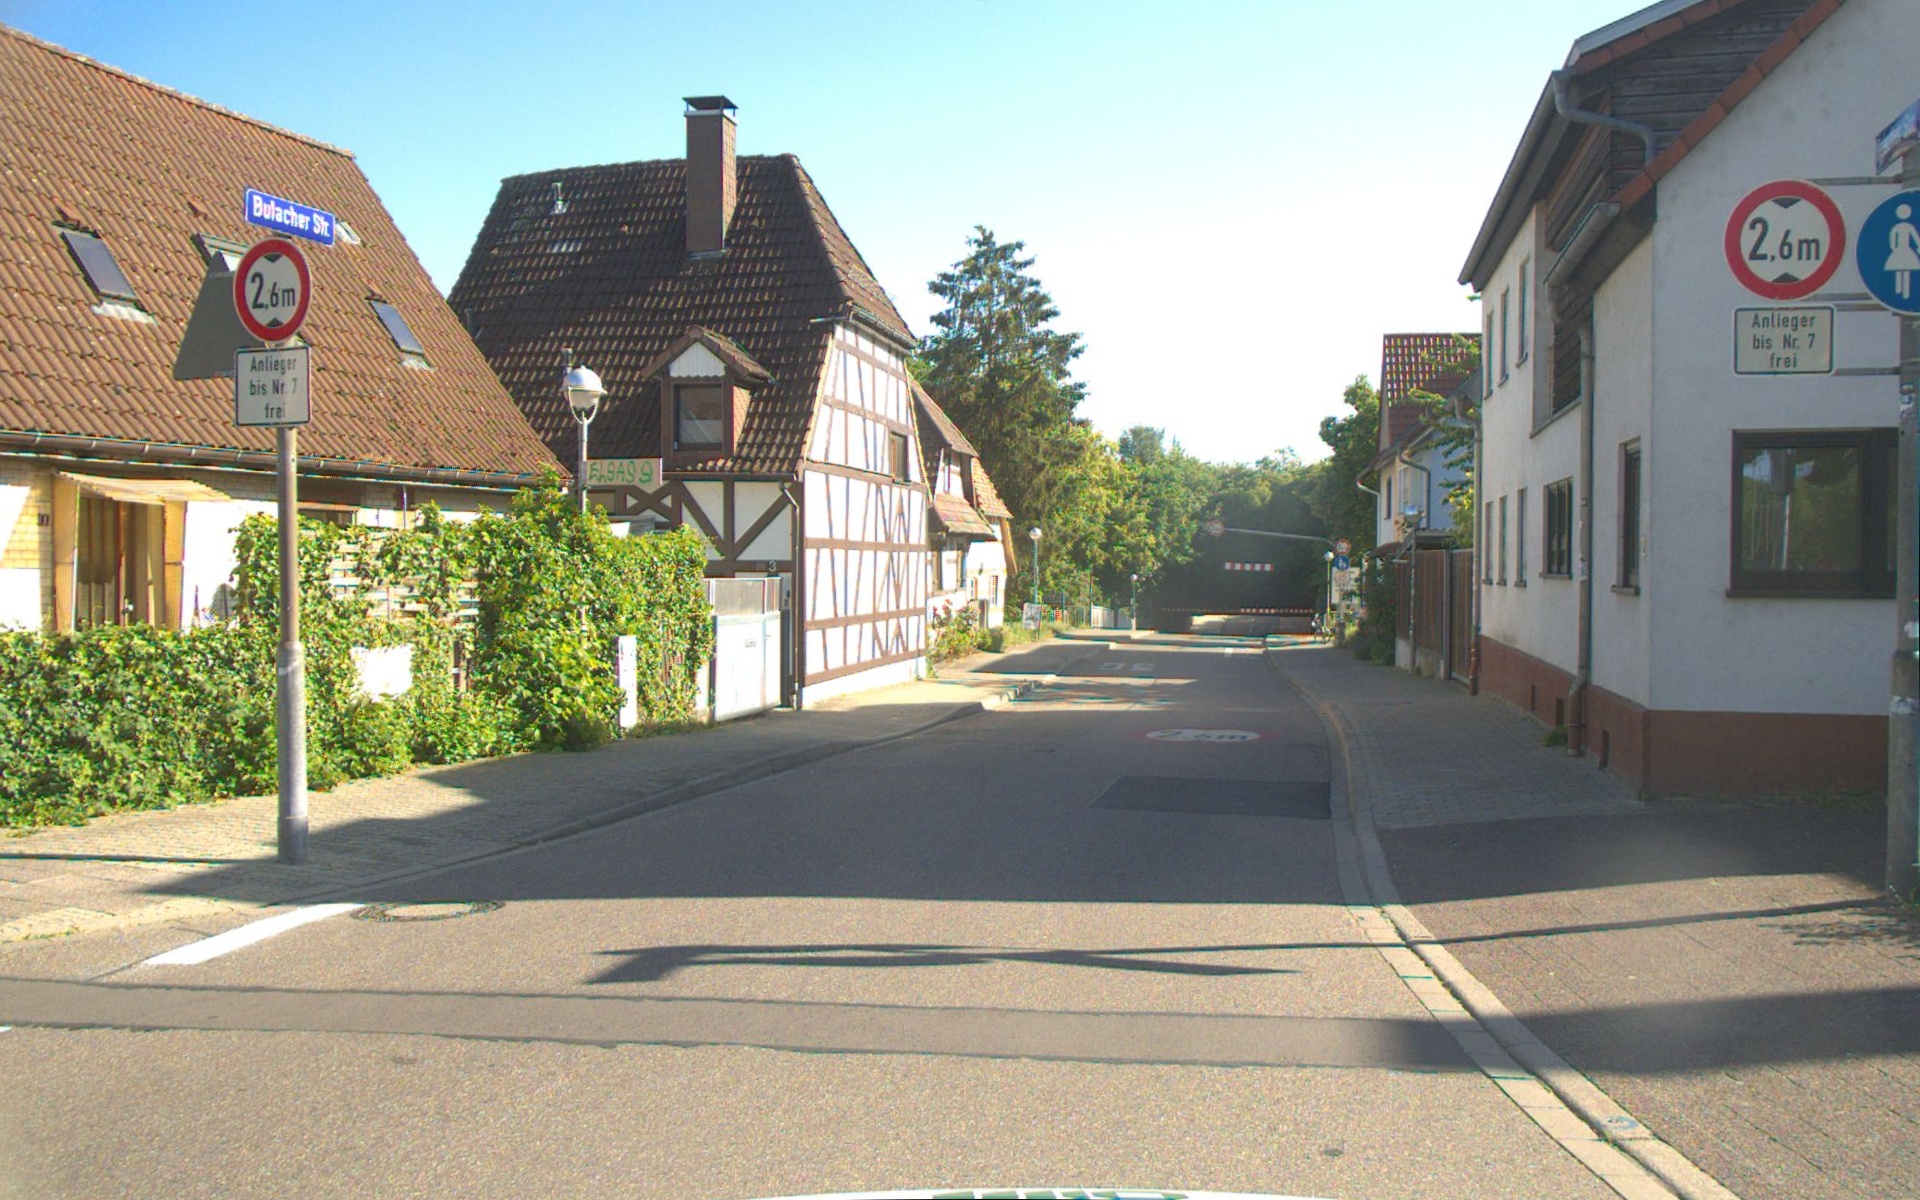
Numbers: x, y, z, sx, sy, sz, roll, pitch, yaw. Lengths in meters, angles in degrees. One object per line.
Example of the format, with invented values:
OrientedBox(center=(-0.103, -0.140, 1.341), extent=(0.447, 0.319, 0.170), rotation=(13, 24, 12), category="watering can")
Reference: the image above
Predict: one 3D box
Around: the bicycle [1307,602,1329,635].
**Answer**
OrientedBox(center=(13.418, 0.685, 62.005), extent=(0.674, 1.177, 1.541), rotation=(-4, 0, 9), category="bicycle")
